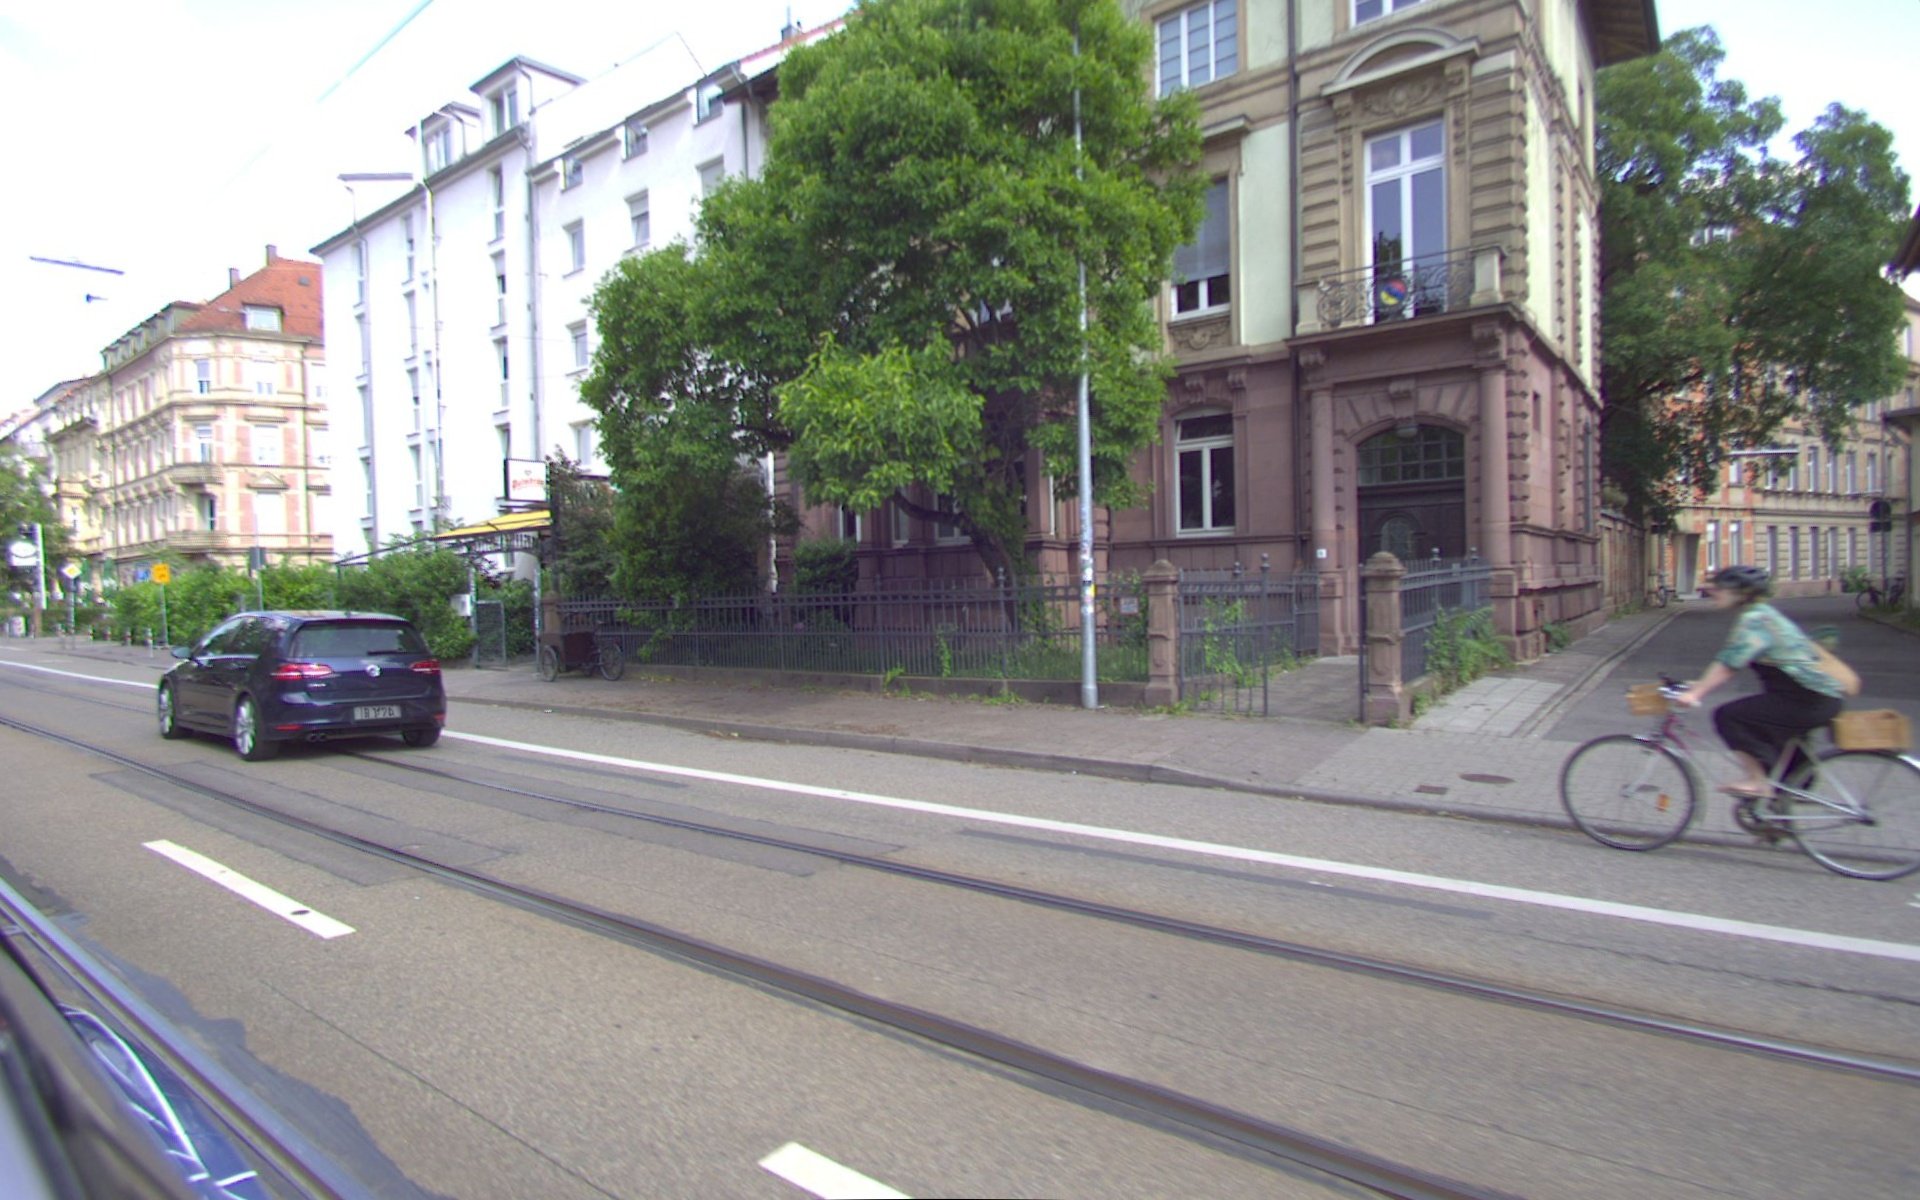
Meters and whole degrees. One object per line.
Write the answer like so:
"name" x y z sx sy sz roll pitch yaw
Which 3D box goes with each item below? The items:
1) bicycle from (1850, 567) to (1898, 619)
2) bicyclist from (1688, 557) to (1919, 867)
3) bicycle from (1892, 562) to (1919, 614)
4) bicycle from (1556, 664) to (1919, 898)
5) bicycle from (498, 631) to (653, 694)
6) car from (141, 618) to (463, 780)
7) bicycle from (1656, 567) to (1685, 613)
"bicycle" 27.457 -0.235 30.425 0.755 1.497 2.234 -1 1 35
"bicyclist" 4.522 0.573 5.461 0.882 1.504 0.593 -2 -6 41
"bicycle" 28.238 -0.375 29.834 0.755 1.497 2.383 -1 1 35
"bicycle" 4.451 0.922 5.485 2.021 1.105 0.596 -2 -5 41
"bicycle" -6.837 1.058 17.899 2.984 0.915 1.132 -1 4 38
"car" -7.056 0.906 10.728 3.925 1.412 1.672 -1 -2 38
"bicycle" 23.962 -0.357 34.160 0.755 1.497 2.470 -1 1 35
